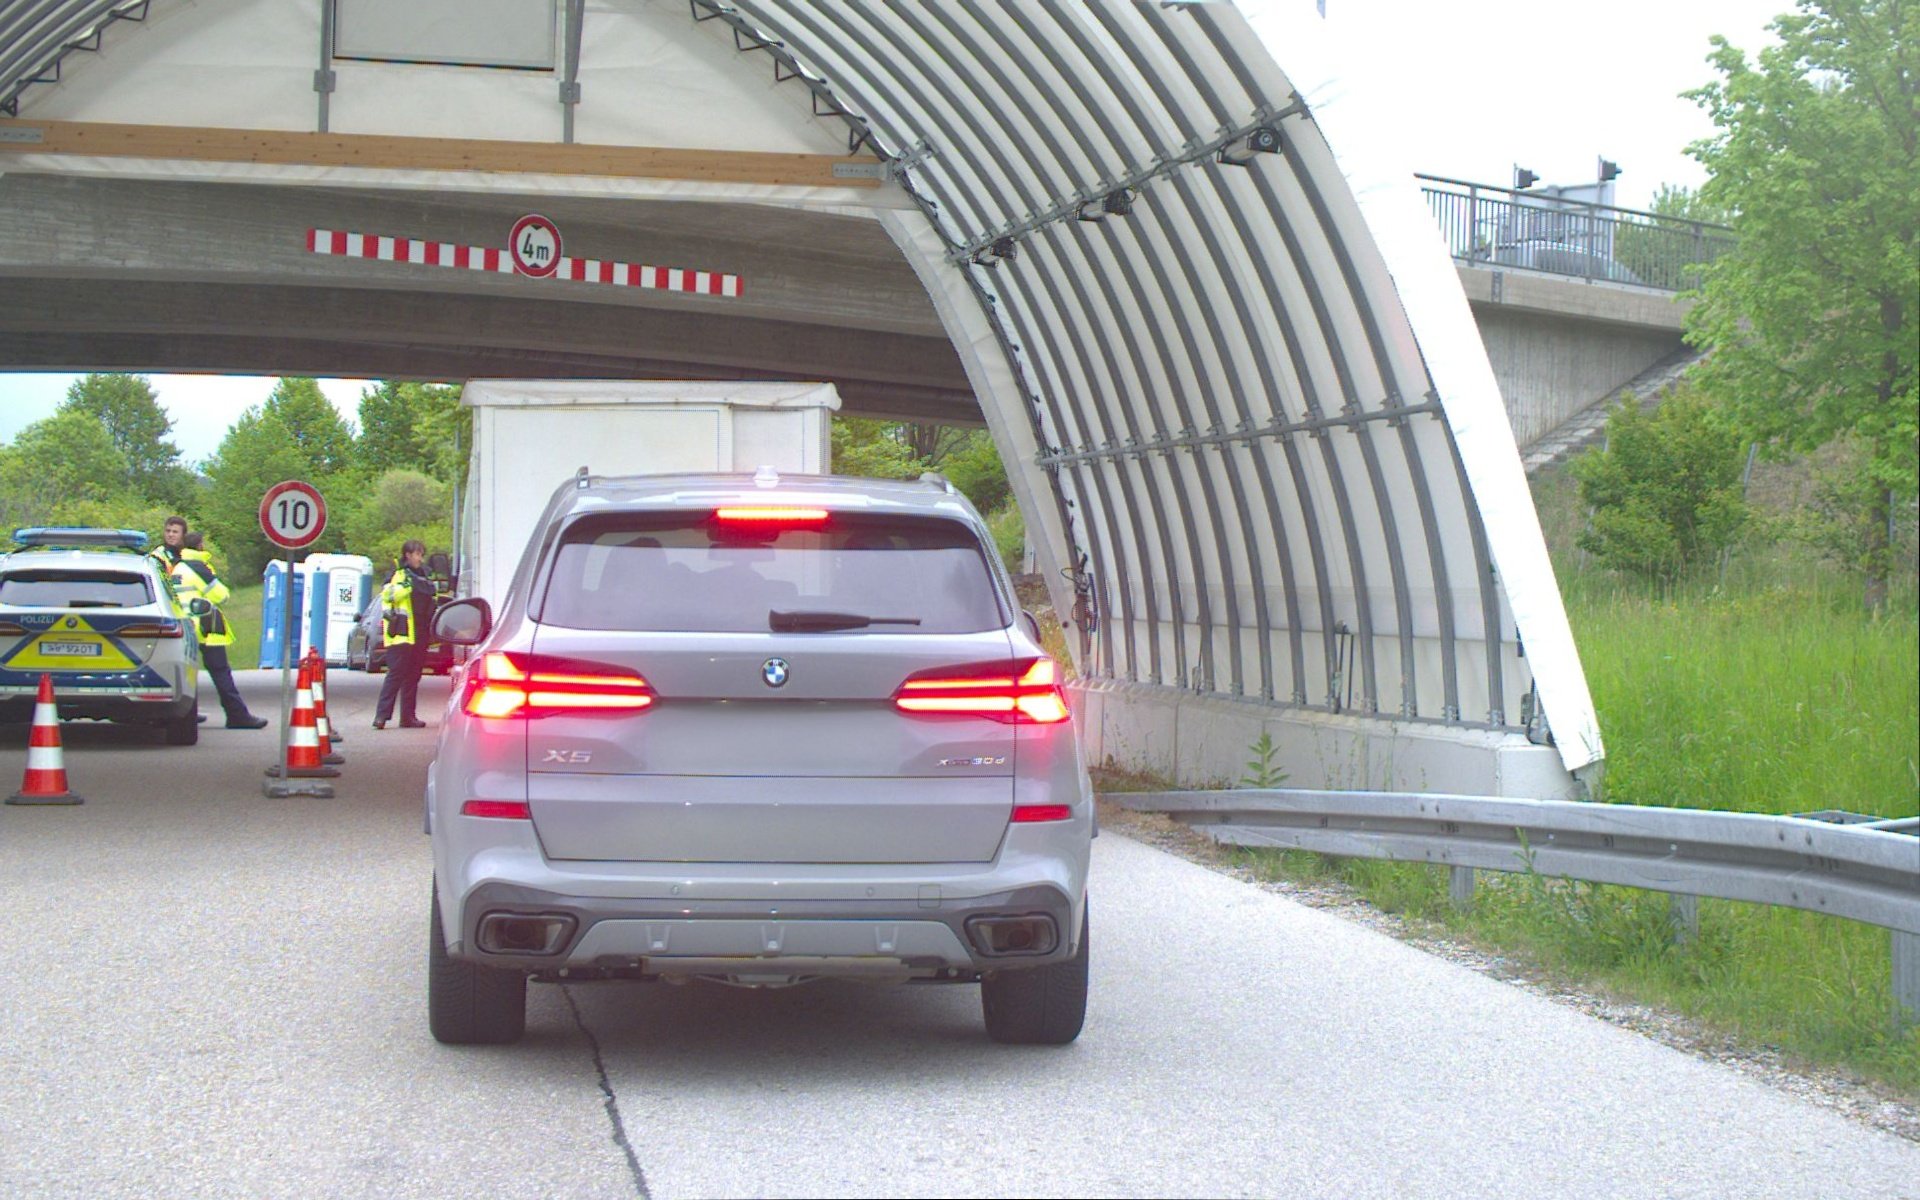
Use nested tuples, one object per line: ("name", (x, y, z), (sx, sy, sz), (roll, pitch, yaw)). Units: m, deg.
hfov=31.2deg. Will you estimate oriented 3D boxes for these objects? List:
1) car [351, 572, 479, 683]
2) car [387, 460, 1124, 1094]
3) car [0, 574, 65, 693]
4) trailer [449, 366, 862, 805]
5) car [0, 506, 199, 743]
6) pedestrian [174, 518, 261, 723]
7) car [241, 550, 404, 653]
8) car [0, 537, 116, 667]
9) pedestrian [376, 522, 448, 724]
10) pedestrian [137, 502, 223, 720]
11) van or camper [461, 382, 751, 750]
("car", (-9.485, 0.440, 59.615), (1.703, 1.848, 4.001), (0, 1, -16))
("car", (-0.676, 0.476, 11.352), (1.993, 1.714, 4.000), (0, 0, -4))
("car", (-12.538, 0.392, 42.902), (1.515, 1.437, 3.315), (0, 1, -36))
("trailer", (-2.106, -0.064, 22.479), (2.278, 2.422, 6.818), (0, 0, -7))
("car", (-7.167, 0.167, 27.587), (1.993, 1.766, 3.766), (0, 0, -11))
("pedestrian", (-6.481, 0.172, 30.018), (0.720, 1.769, 0.690), (0, 0, -11))
("car", (-12.808, 0.014, 68.896), (1.993, 2.007, 4.000), (0, 0, -30))
("car", (-14.518, 0.026, 50.024), (3.987, 1.848, 1.709), (0, 0, 5))
("pedestrian", (-4.855, 0.197, 30.441), (0.604, 1.769, 0.650), (0, 0, -11))
("pedestrian", (-7.013, 0.092, 30.930), (0.720, 1.939, 0.690), (0, 0, -11))
("van or camper", (-3.082, -0.241, 28.839), (2.156, 2.754, 5.872), (0, 0, -8))
